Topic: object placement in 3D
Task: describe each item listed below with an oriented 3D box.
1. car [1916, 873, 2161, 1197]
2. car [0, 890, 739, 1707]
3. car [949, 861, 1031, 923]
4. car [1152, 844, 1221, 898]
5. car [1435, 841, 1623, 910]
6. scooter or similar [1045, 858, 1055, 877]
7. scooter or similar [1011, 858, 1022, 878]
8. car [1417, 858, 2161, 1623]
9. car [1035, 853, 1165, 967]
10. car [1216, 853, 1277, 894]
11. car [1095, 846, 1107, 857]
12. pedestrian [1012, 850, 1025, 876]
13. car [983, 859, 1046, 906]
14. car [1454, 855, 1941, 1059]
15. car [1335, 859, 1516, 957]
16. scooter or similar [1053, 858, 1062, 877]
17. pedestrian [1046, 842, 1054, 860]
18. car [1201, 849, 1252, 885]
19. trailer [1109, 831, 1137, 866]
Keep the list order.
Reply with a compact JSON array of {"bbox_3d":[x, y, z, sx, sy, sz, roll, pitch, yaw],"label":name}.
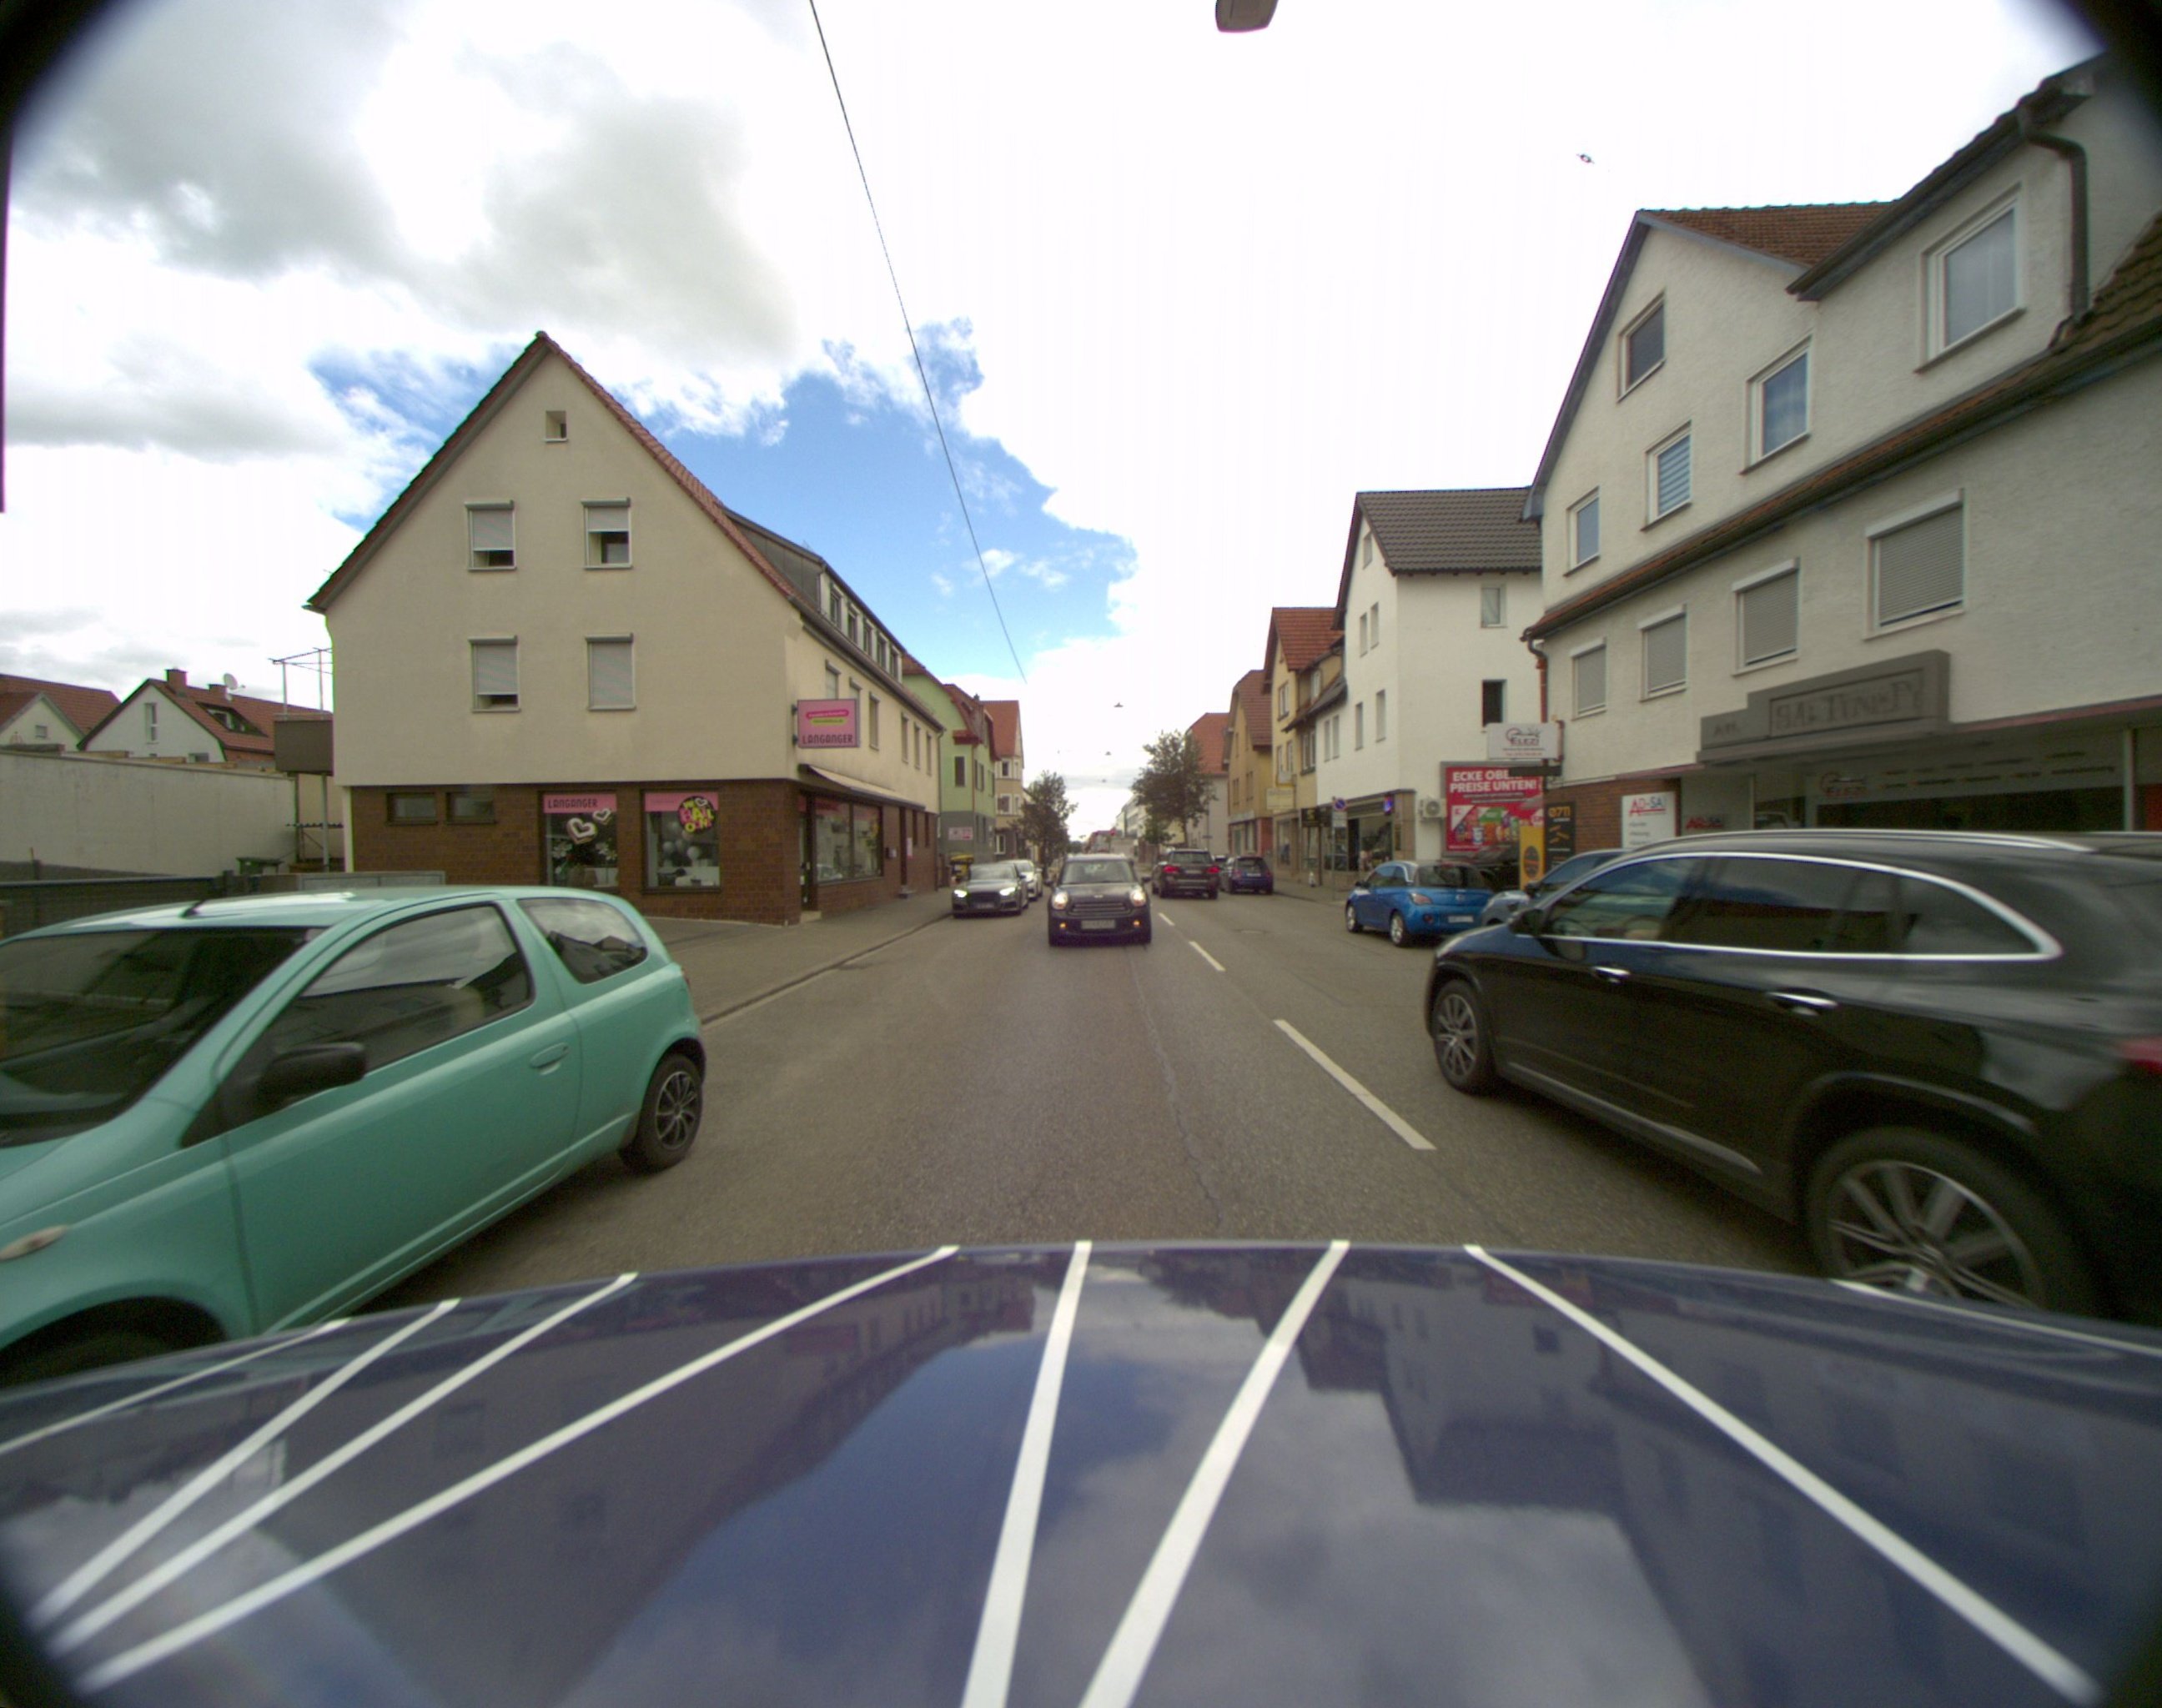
[{"bbox_3d":[5.910,0.897,2.752,1.585,1.499,3.812,1,1,1],"label":"car"},{"bbox_3d":[-3.047,1.007,2.554,1.835,1.489,3.993,-2,0,2],"label":"car"},{"bbox_3d":[-2.413,0.970,21.071,1.836,1.437,4.109,-2,0,-2],"label":"car"},{"bbox_3d":[3.610,0.540,26.724,1.905,1.727,4.366,1,1,2],"label":"car"},{"bbox_3d":[12.222,0.557,20.917,3.997,1.692,1.999,-2,1,-1],"label":"car"},{"bbox_3d":[-2.071,0.891,50.577,0.503,1.228,1.942,-2,1,0],"label":"scooter or similar"},{"bbox_3d":[-4.227,0.921,50.060,0.591,1.225,0.891,-2,1,0],"label":"scooter or similar"},{"bbox_3d":[3.206,0.832,3.164,1.799,1.569,4.192,1,0,1],"label":"car"},{"bbox_3d":[0.309,0.835,13.540,1.847,1.571,4.429,-3,1,1],"label":"car"},{"bbox_3d":[6.442,0.713,29.852,1.686,1.484,3.591,1,1,2],"label":"car"},{"bbox_3d":[3.314,-0.477,126.722,1.998,1.786,4.277,0,1,1],"label":"car"},{"bbox_3d":[-4.200,0.592,50.990,0.752,1.710,0.900,-2,1,1],"label":"pedestrian"},{"bbox_3d":[-2.290,0.951,27.149,1.836,1.437,4.331,-2,0,0],"label":"car"},{"bbox_3d":[5.985,0.827,8.239,1.807,1.590,4.304,0,1,1],"label":"car"},{"bbox_3d":[6.104,0.875,13.960,1.686,1.490,3.775,1,1,2],"label":"car"},{"bbox_3d":[-1.536,0.873,50.577,0.503,1.228,1.942,-2,1,0],"label":"scooter or similar"},{"bbox_3d":[-3.656,-0.360,89.313,0.826,2.063,1.011,2,1,3],"label":"pedestrian"},{"bbox_3d":[6.785,0.562,35.707,1.714,1.557,4.113,1,1,2],"label":"car"},{"bbox_3d":[4.078,-0.577,74.829,2.509,3.201,7.134,-1,1,2],"label":"trailer"}]
